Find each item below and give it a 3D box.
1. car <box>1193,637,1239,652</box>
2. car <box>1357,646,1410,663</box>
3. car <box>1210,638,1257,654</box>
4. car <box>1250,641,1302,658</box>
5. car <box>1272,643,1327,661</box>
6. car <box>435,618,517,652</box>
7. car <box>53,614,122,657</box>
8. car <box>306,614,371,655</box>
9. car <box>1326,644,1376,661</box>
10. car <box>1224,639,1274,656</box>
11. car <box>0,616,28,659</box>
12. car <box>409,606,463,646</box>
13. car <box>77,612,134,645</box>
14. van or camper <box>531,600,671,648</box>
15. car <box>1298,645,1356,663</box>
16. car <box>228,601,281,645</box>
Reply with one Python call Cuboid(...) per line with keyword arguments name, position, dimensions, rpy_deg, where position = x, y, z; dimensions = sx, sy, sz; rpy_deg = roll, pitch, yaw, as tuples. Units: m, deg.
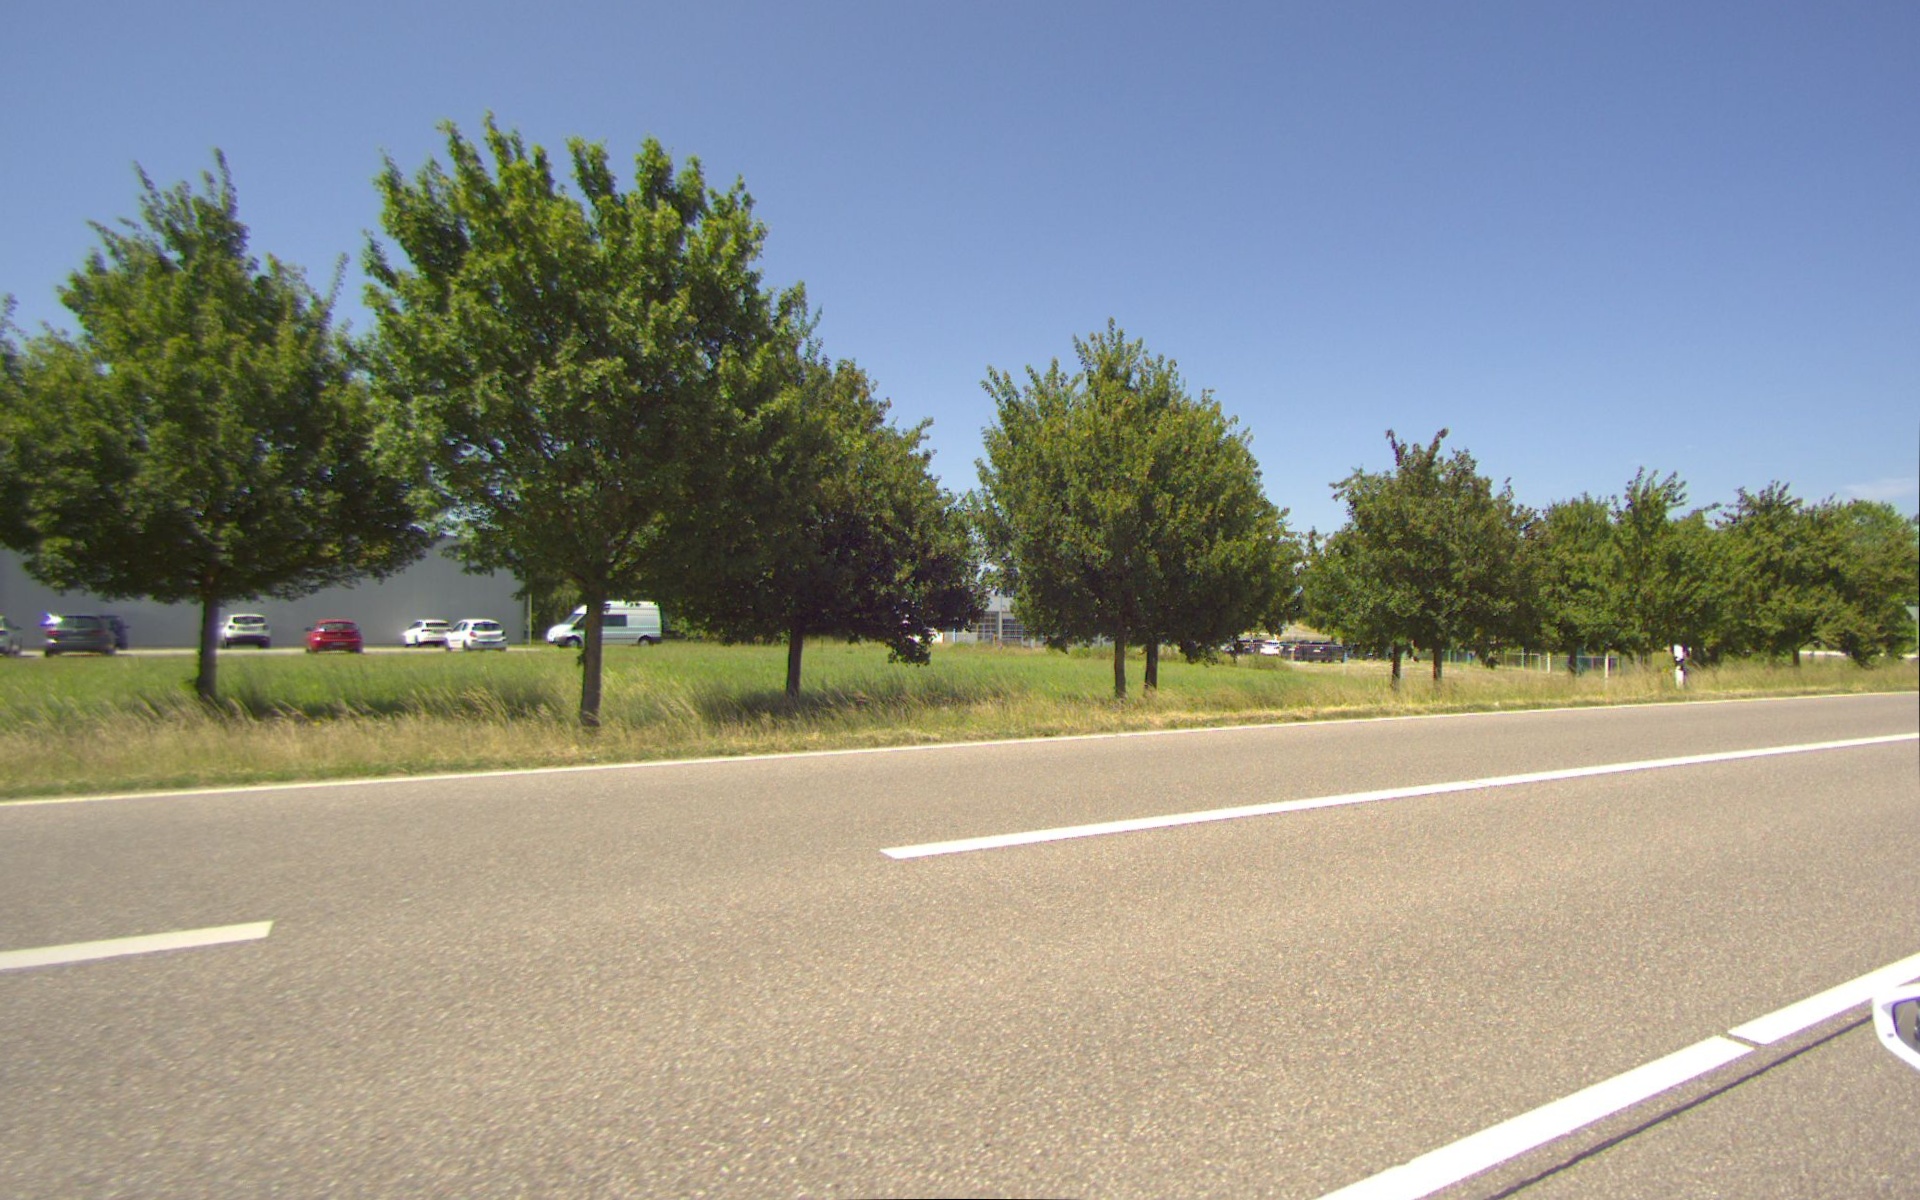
Cuboid(name="car", position=(25.114, 4.336, 98.589), dimensions=(3.923, 1.412, 1.999), rpy_deg=(1, -1, -3))
Cuboid(name="car", position=(38.092, 4.942, 90.453), dimensions=(3.923, 1.412, 1.999), rpy_deg=(1, -1, -3))
Cuboid(name="car", position=(26.000, 4.347, 95.494), dimensions=(3.923, 1.412, 1.999), rpy_deg=(1, -1, -3))
Cuboid(name="car", position=(27.801, 4.364, 88.342), dimensions=(3.923, 1.412, 1.999), rpy_deg=(1, -1, -3))
Cuboid(name="car", position=(28.772, 4.379, 85.231), dimensions=(3.923, 1.412, 1.999), rpy_deg=(1, -1, -3))
Cuboid(name="car", position=(-21.562, 1.556, 44.712), dimensions=(3.943, 1.372, 1.989), rpy_deg=(0, -1, 43))
Cuboid(name="car", position=(-31.912, 1.272, 36.807), dimensions=(1.724, 1.439, 3.572), rpy_deg=(2, -1, -39))
Cuboid(name="car", position=(-25.508, 1.393, 41.190), dimensions=(1.911, 1.528, 3.958), rpy_deg=(2, -1, -37))
Cuboid(name="car", position=(36.641, 4.914, 94.260), dimensions=(3.923, 1.412, 1.999), rpy_deg=(1, -1, -3))
Cuboid(name="car", position=(26.485, 4.342, 92.160), dimensions=(3.923, 1.412, 1.999), rpy_deg=(1, -1, -3))
Cuboid(name="car", position=(-34.007, 1.289, 35.384), dimensions=(1.421, 1.439, 3.572), rpy_deg=(2, -1, -39))
Cuboid(name="car", position=(-28.400, 1.396, 54.377), dimensions=(1.981, 2.040, 3.959), rpy_deg=(2, -1, -36))
Cuboid(name="car", position=(-38.879, 1.287, 45.751), dimensions=(1.842, 1.439, 3.588), rpy_deg=(2, -1, -39))
Cuboid(name="van or camper", position=(-18.875, 1.287, 52.990), dimensions=(6.475, 2.394, 2.446), rpy_deg=(2, -1, -36))
Cuboid(name="car", position=(29.872, 4.386, 81.825), dimensions=(3.923, 1.412, 1.999), rpy_deg=(1, -1, -3))
Cuboid(name="car", position=(-34.467, 1.122, 49.051), dimensions=(1.981, 2.040, 3.959), rpy_deg=(2, -1, -36))
